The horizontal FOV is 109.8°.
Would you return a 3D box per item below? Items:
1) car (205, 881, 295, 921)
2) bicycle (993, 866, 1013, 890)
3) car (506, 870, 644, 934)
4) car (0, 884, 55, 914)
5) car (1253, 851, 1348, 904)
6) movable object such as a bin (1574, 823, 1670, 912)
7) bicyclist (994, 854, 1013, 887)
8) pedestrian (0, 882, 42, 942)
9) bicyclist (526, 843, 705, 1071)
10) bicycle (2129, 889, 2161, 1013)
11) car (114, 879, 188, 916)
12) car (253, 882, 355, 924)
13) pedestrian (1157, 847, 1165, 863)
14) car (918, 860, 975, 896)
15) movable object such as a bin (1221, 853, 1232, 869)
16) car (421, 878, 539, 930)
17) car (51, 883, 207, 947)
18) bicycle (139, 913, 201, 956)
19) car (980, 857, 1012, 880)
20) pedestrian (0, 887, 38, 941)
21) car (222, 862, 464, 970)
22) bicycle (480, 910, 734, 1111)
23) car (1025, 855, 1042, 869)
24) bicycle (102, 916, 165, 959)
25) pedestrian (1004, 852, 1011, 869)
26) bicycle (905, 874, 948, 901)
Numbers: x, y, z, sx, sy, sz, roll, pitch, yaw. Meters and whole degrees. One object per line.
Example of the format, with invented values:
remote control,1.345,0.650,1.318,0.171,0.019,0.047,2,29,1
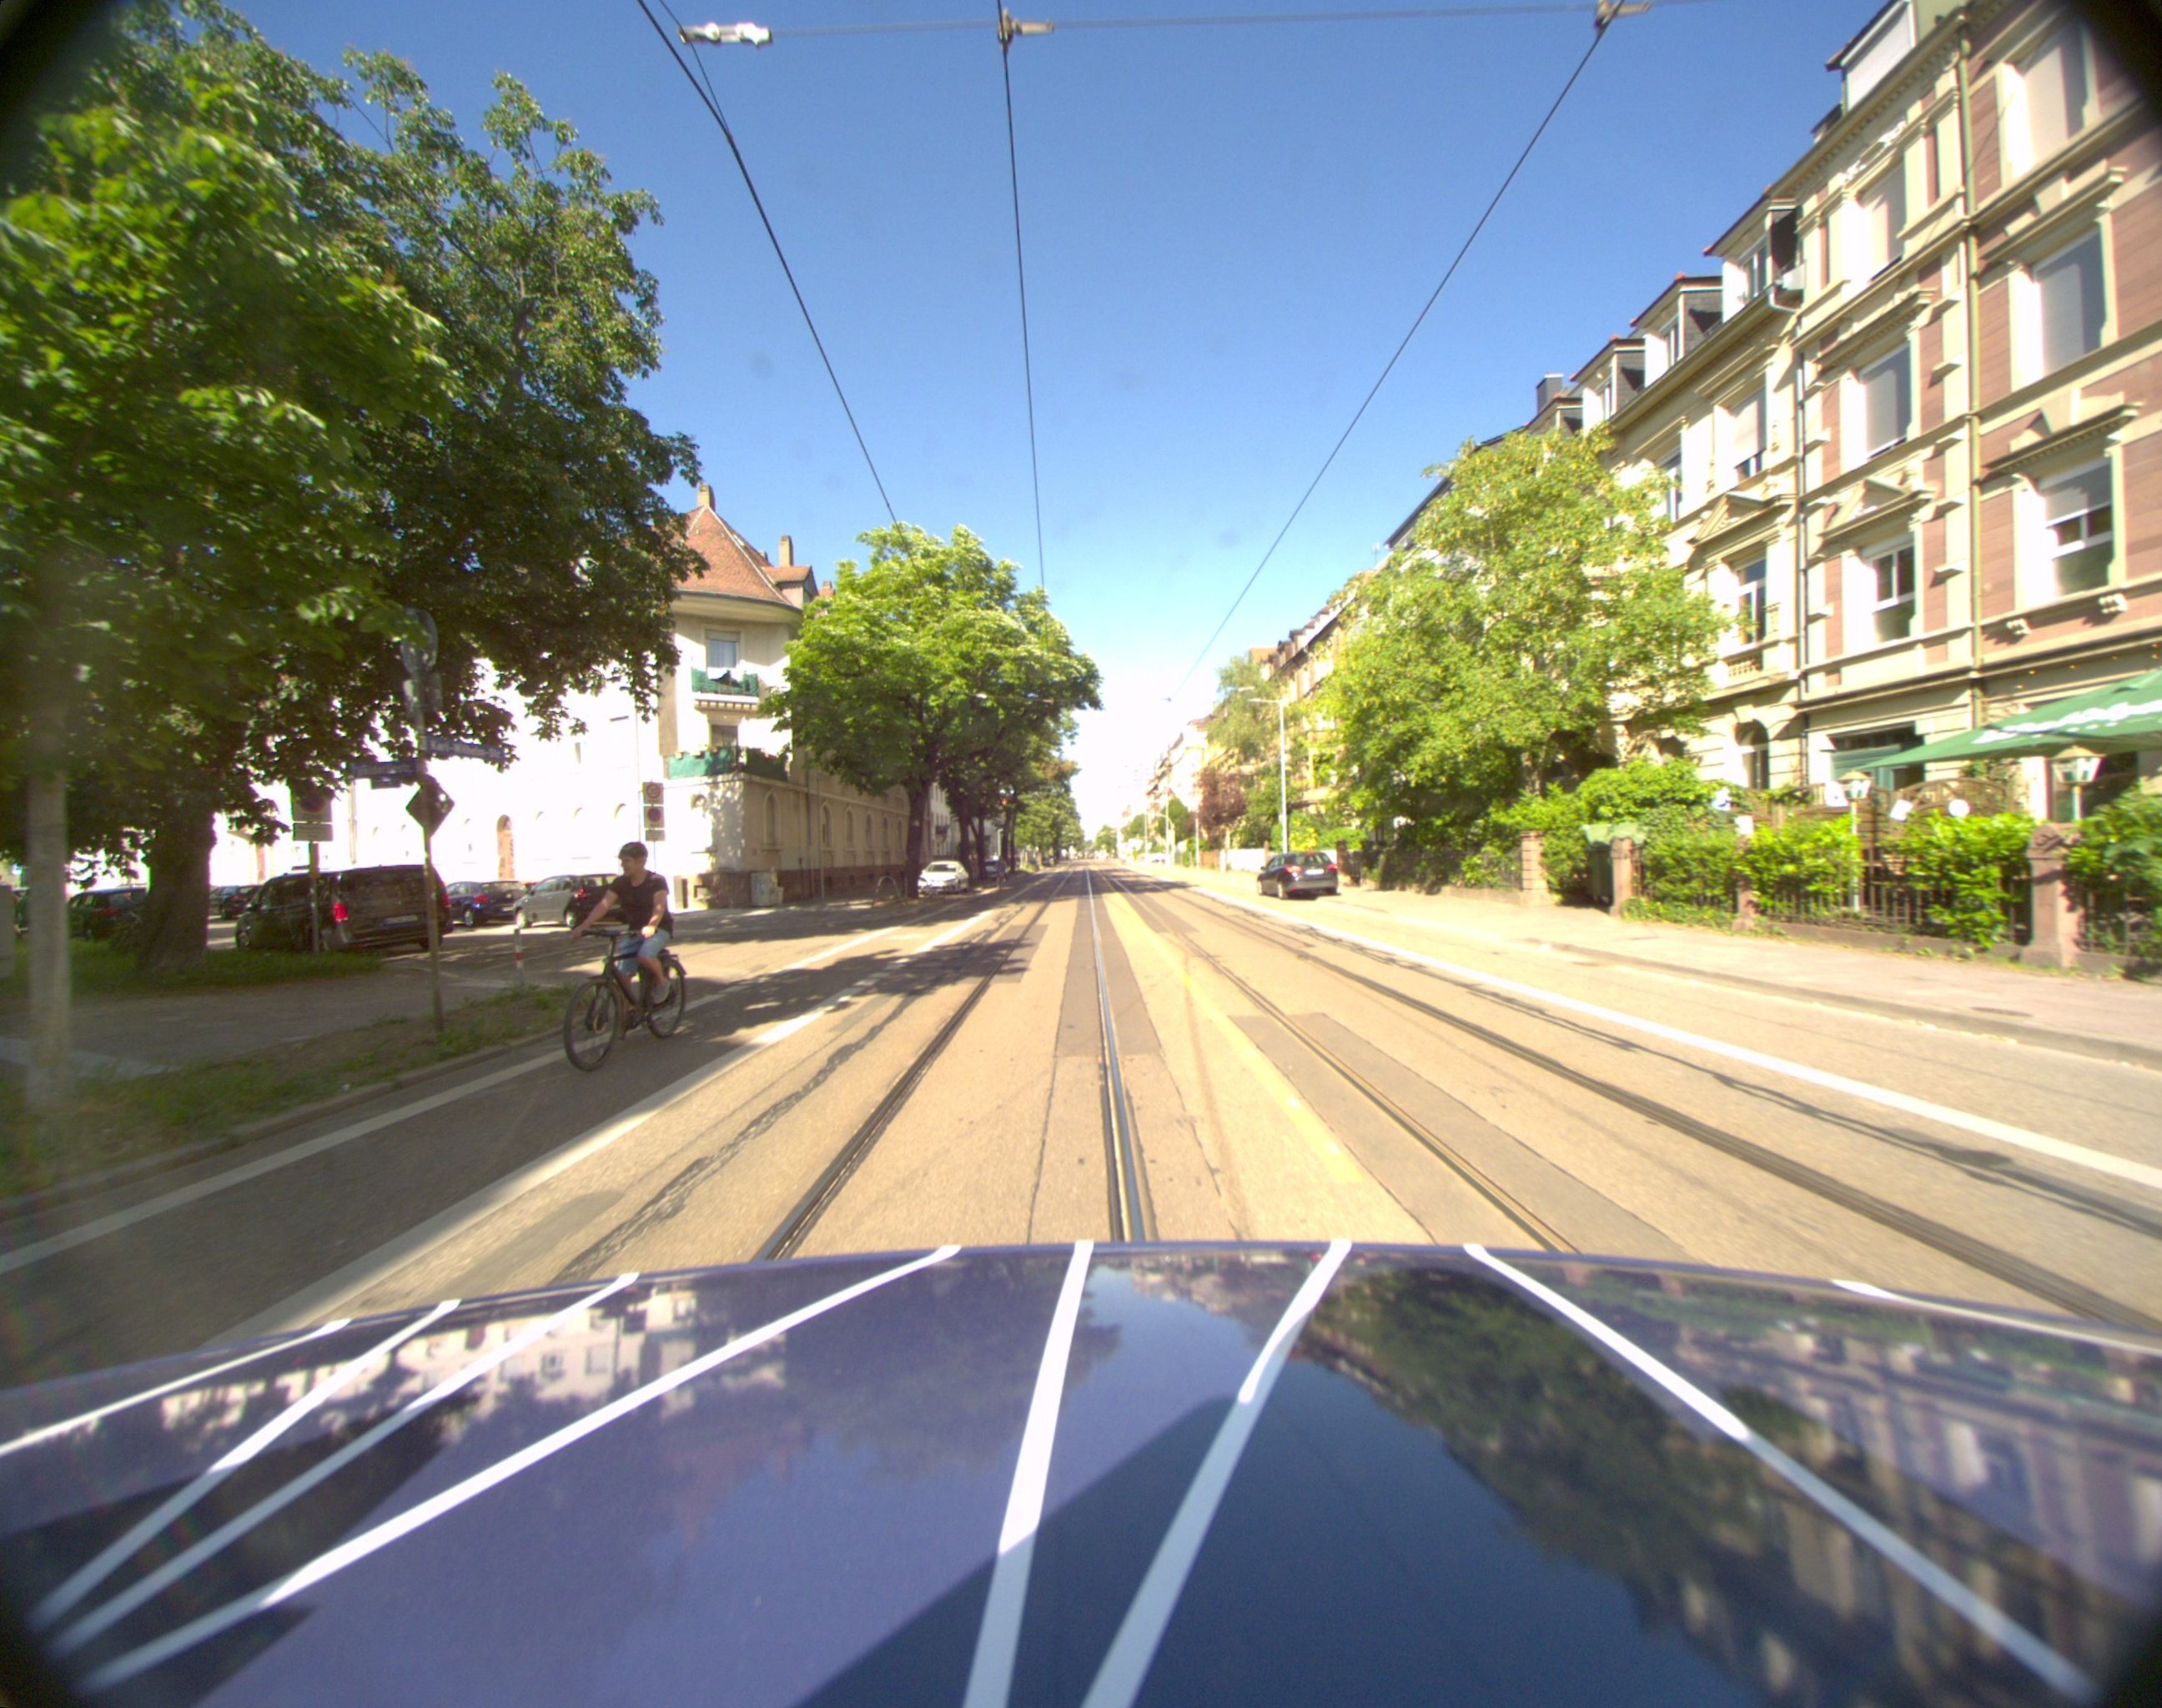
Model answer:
car,-35.148,1.952,32.126,3.759,1.491,1.642,-2,2,28
bicycle,-3.723,1.130,36.580,0.776,1.080,2.058,-2,0,-2
car,-14.343,1.317,21.541,3.431,1.530,1.725,-2,3,28
car,-69.223,2.952,49.700,4.032,1.709,1.785,-2,3,28
car,7.180,0.702,25.309,1.869,1.567,4.588,0,0,1
movable object such as a bin,11.329,0.276,15.964,1.287,1.721,1.043,-4,0,16
bicyclist,-3.725,0.773,36.536,0.776,1.505,1.229,-2,1,-2
pedestrian,-33.526,1.815,23.884,0.572,1.831,0.845,-2,1,25
bicyclist,-3.856,0.799,6.401,0.763,1.728,1.046,-3,1,0
bicycle,9.389,0.826,5.515,0.515,1.032,2.223,-2,0,1
car,-47.721,2.215,38.980,3.847,1.664,1.642,-2,2,28
car,-29.823,1.844,29.149,3.952,1.408,1.642,-2,2,28
pedestrian,9.369,0.082,89.312,0.809,1.825,0.754,-2,1,9
car,-5.938,1.011,34.026,1.705,1.463,4.214,-1,0,1
movable object such as a bin,10.409,0.504,54.528,0.590,1.169,0.665,-2,1,-4
car,-18.626,1.517,23.542,3.351,1.390,1.575,-2,2,28
car,-28.785,1.790,22.960,4.608,1.601,1.938,-2,2,27
bicycle,-18.021,1.585,15.024,1.379,0.773,0.420,-2,1,25
car,-5.802,0.966,52.384,1.824,1.475,4.748,-1,0,-2
pedestrian,-32.282,1.797,22.886,0.572,1.559,0.844,-2,1,24
car,-15.628,1.222,16.065,5.054,1.880,2.003,-2,2,27
bicycle,-3.837,1.187,6.435,0.763,1.235,2.096,-3,0,0
car,-5.395,0.901,86.921,1.761,1.458,4.613,-1,0,-2
bicycle,-18.229,1.592,14.615,1.379,0.754,0.420,-2,1,25
pedestrian,-8.732,0.803,89.753,0.743,2.002,0.687,-2,1,-8
bicycle,-5.827,1.275,28.747,1.570,0.974,0.640,-1,0,-8
